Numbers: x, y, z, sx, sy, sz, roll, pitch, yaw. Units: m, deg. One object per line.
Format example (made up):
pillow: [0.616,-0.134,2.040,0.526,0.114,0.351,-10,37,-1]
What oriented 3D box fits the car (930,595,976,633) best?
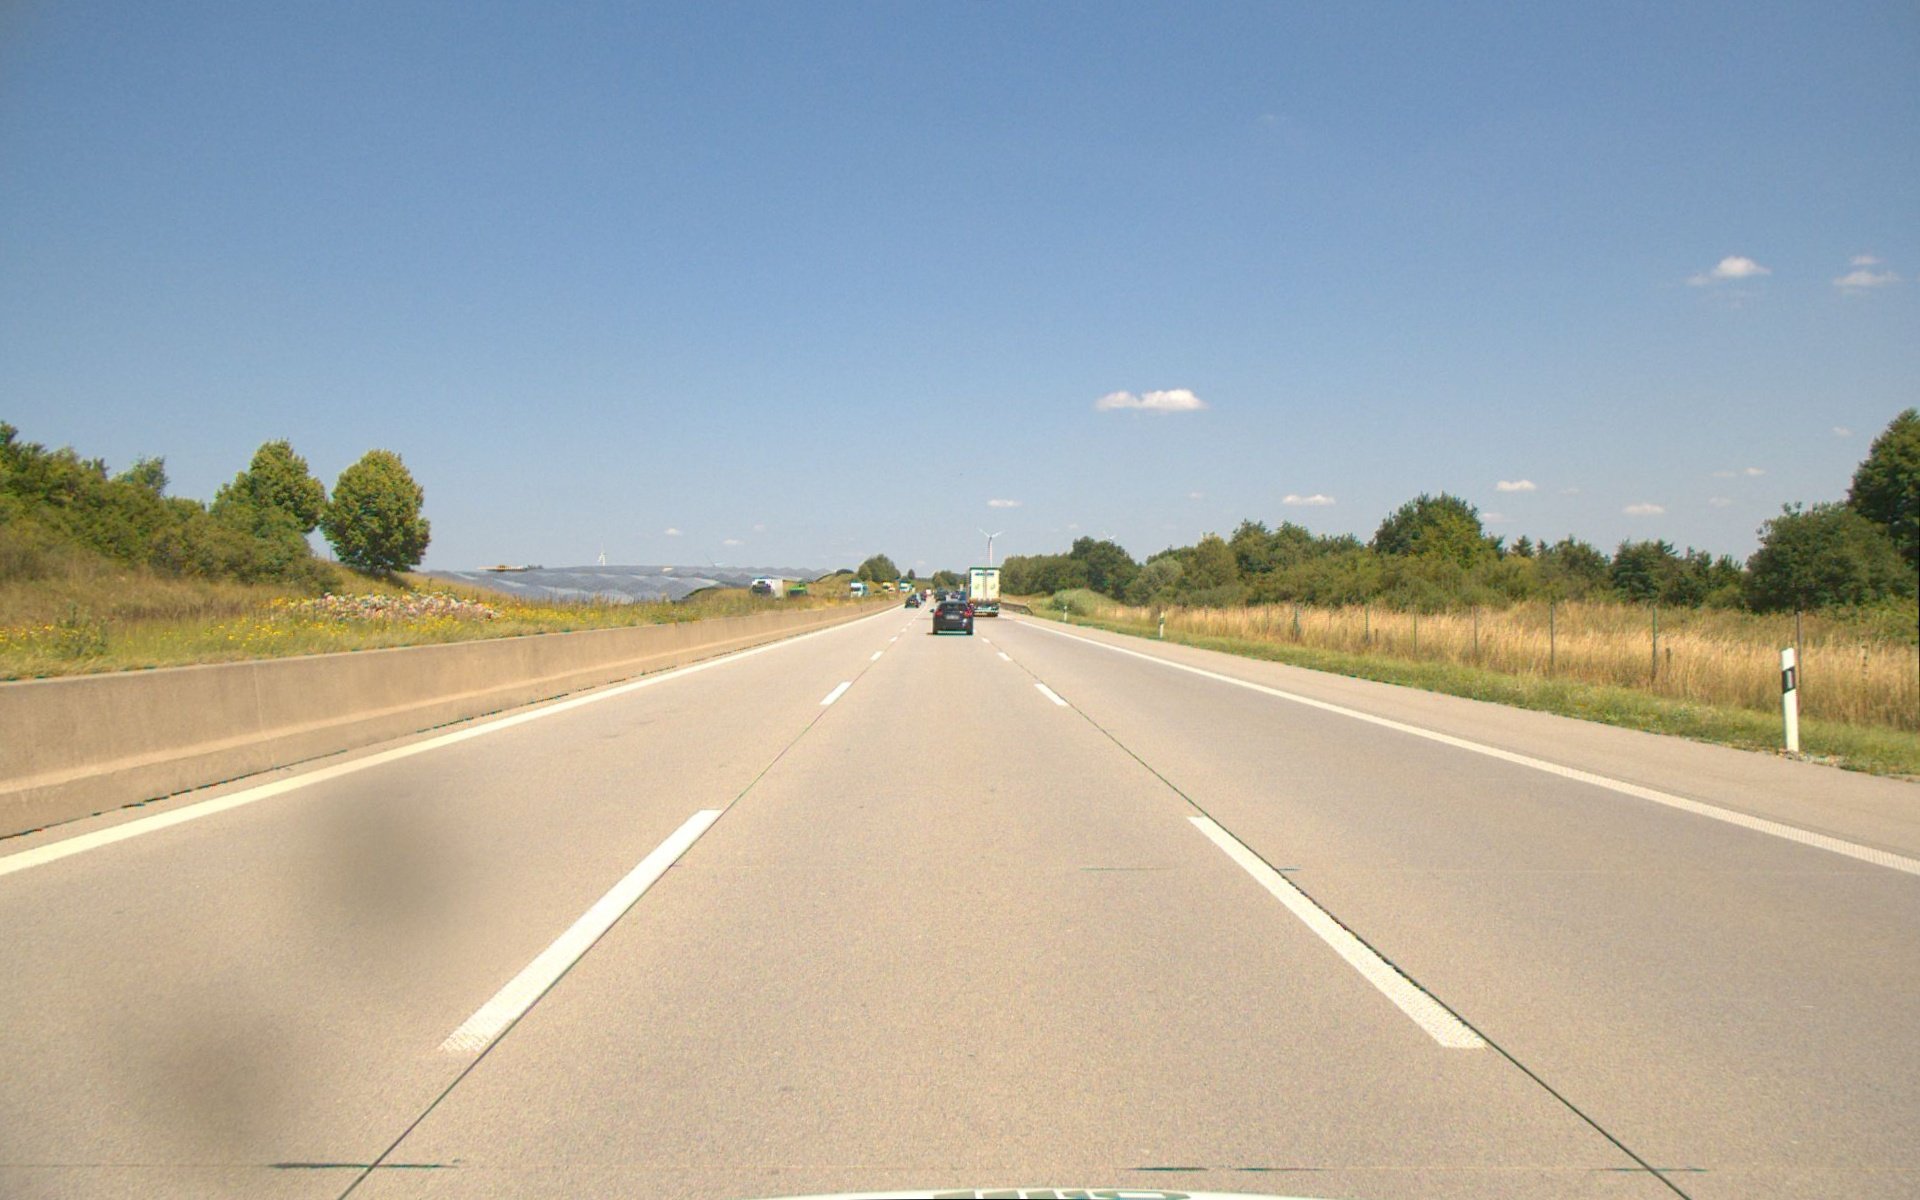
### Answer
car: [-0.330,0.585,72.299,1.872,1.518,4.191,1,0,-1]

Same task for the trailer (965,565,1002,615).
trailer: [1.937,-0.844,142.859,2.794,4.113,12.711,1,0,-1]

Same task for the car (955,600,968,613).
car: [0.253,0.927,249.493,1.789,1.940,4.001,1,0,3]

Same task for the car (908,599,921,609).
car: [-5.980,0.474,217.487,1.622,1.217,3.959,3,0,-1]
